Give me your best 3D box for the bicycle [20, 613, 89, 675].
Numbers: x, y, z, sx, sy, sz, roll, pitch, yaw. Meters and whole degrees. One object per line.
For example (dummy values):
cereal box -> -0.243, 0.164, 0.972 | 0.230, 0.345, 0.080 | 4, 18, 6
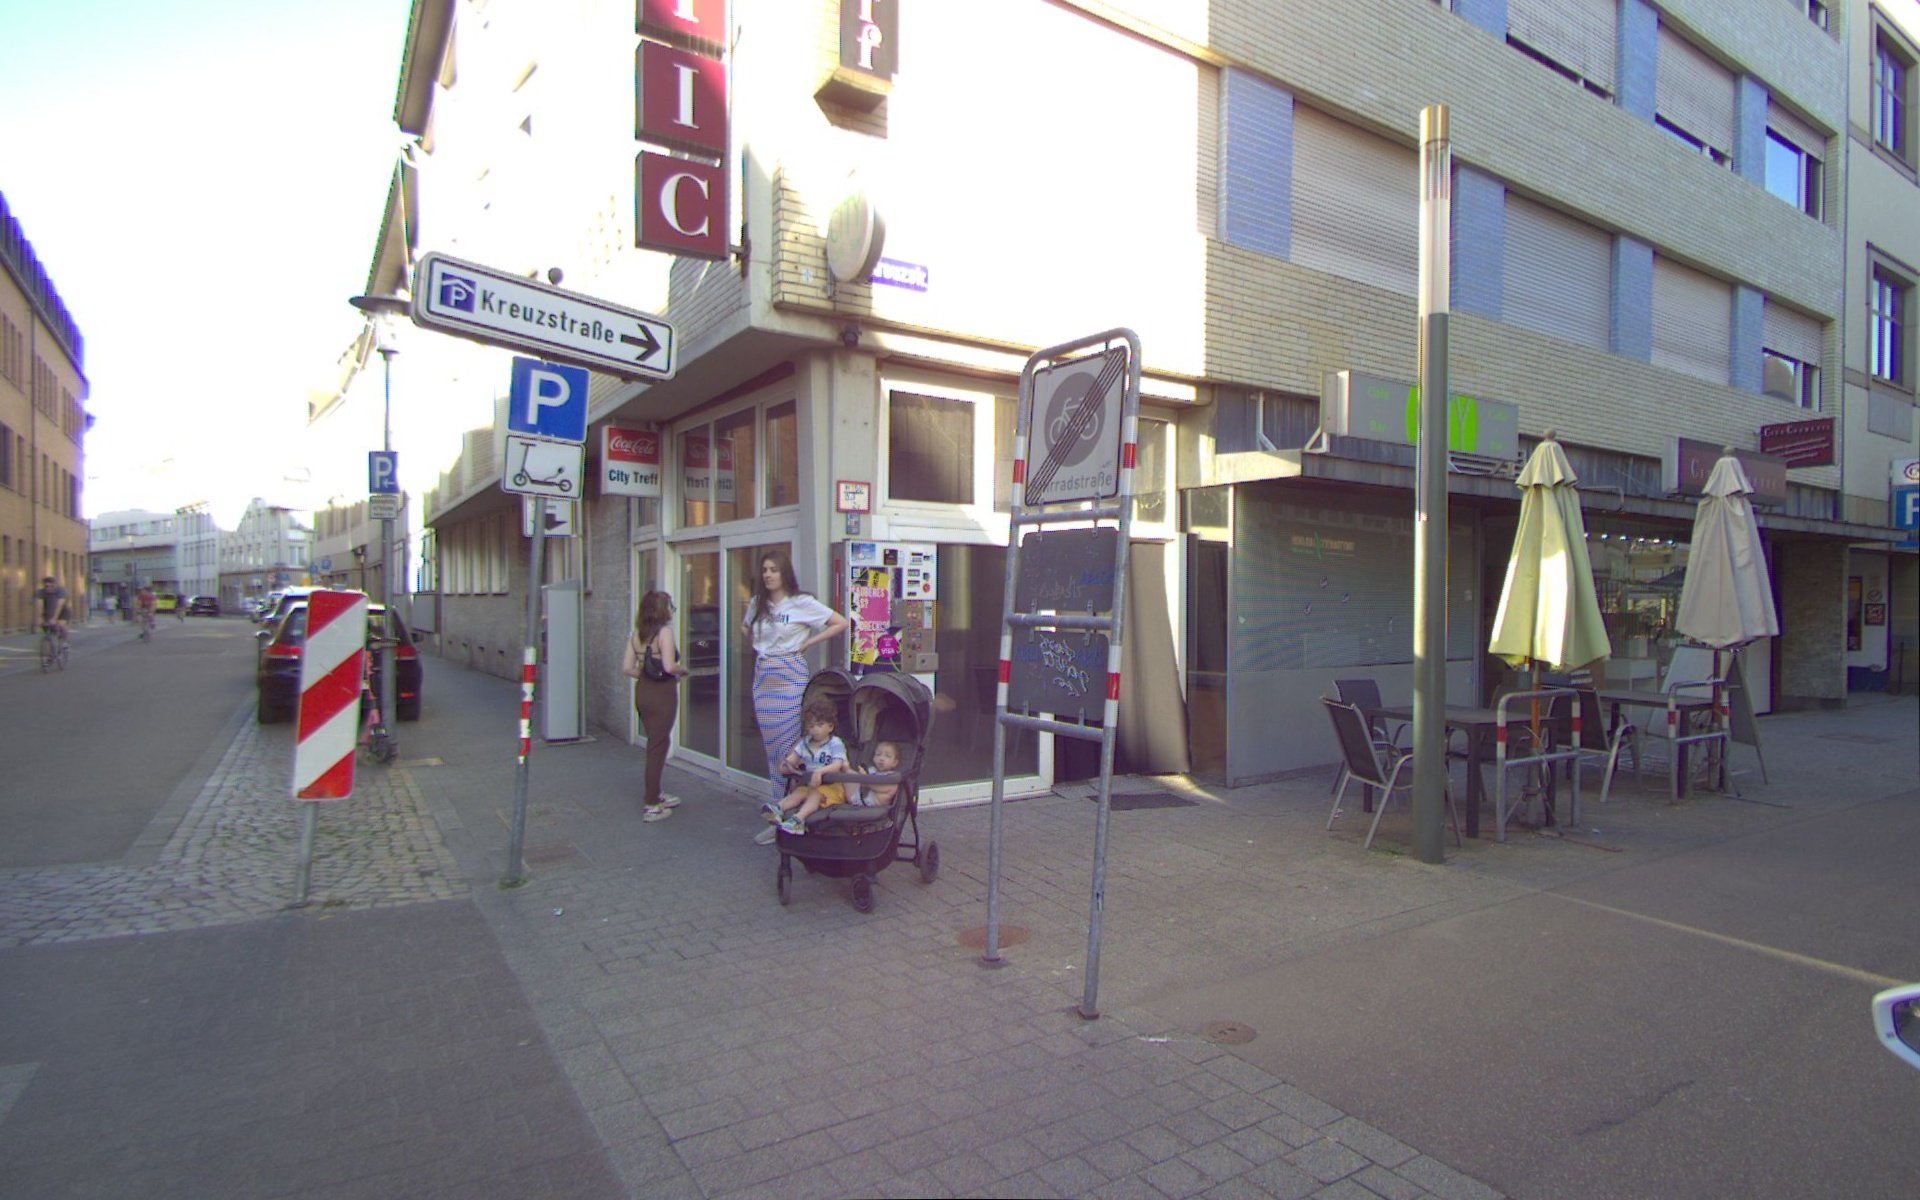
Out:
bicycle -> -17.054, 0.803, 18.950 | 0.567, 1.065, 1.821 | -2, 1, -30

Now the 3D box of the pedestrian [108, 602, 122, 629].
pedestrian -> -48.889, 0.909, 58.095 | 0.538, 1.565, 0.401 | 2, 0, -35

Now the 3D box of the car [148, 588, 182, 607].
car -> -73.977, -0.270, 93.482 | 3.783, 1.673, 1.925 | 1, -1, 43

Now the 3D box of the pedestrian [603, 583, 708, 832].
pedestrian -> -2.077, 0.695, 6.839 | 0.505, 1.601, 0.529 | -3, 1, -34

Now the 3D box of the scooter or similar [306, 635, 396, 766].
scooter or similar -> -5.804, 0.944, 9.570 | 0.865, 1.199, 0.208 | 0, 0, 17

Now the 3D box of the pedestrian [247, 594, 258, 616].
pedestrian -> -49.188, 0.363, 69.827 | 0.567, 1.499, 0.468 | 0, 0, -41

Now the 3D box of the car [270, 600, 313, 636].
car -> -34.248, 0.911, 51.440 | 1.677, 1.701, 3.473 | 3, -2, -35

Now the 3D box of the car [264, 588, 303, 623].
car -> -37.696, 0.313, 55.911 | 1.677, 1.798, 3.619 | 3, -2, -35

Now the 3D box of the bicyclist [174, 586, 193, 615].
bicyclist -> -45.886, 0.024, 59.387 | 0.767, 1.678, 0.945 | -3, 2, -42

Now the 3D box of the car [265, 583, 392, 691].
car -> -11.224, 0.616, 17.851 | 1.656, 1.683, 4.043 | 3, -2, -33

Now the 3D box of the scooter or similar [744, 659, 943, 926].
scooter or similar -> -0.562, 0.923, 5.178 | 0.783, 1.159, 0.954 | 0, 1, 10

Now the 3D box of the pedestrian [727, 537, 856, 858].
pedestrian -> -1.006, 0.562, 6.120 | 0.647, 1.844, 0.570 | -2, 1, -3

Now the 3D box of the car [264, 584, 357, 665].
car -> -15.377, 0.569, 23.812 | 1.656, 1.727, 3.976 | 3, -2, -33

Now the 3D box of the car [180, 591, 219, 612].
car -> -62.325, 0.126, 82.325 | 3.783, 1.673, 1.925 | 1, 0, 43

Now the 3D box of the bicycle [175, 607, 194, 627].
bicycle -> -45.945, 1.004, 59.508 | 0.700, 1.118, 1.805 | -4, 2, -42

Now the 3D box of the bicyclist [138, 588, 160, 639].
bicyclist -> -25.090, 0.412, 31.069 | 0.424, 1.518, 0.867 | -2, 1, -35

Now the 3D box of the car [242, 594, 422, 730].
car -> -8.330, 0.727, 13.345 | 1.723, 1.505, 3.776 | 3, -1, -33

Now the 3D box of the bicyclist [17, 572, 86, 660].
bicyclist -> -17.042, 0.289, 18.865 | 0.642, 1.579, 1.101 | -3, 2, -29

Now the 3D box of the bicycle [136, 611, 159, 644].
bicycle -> -25.069, 0.825, 31.007 | 0.432, 0.970, 1.575 | 0, 0, -35
